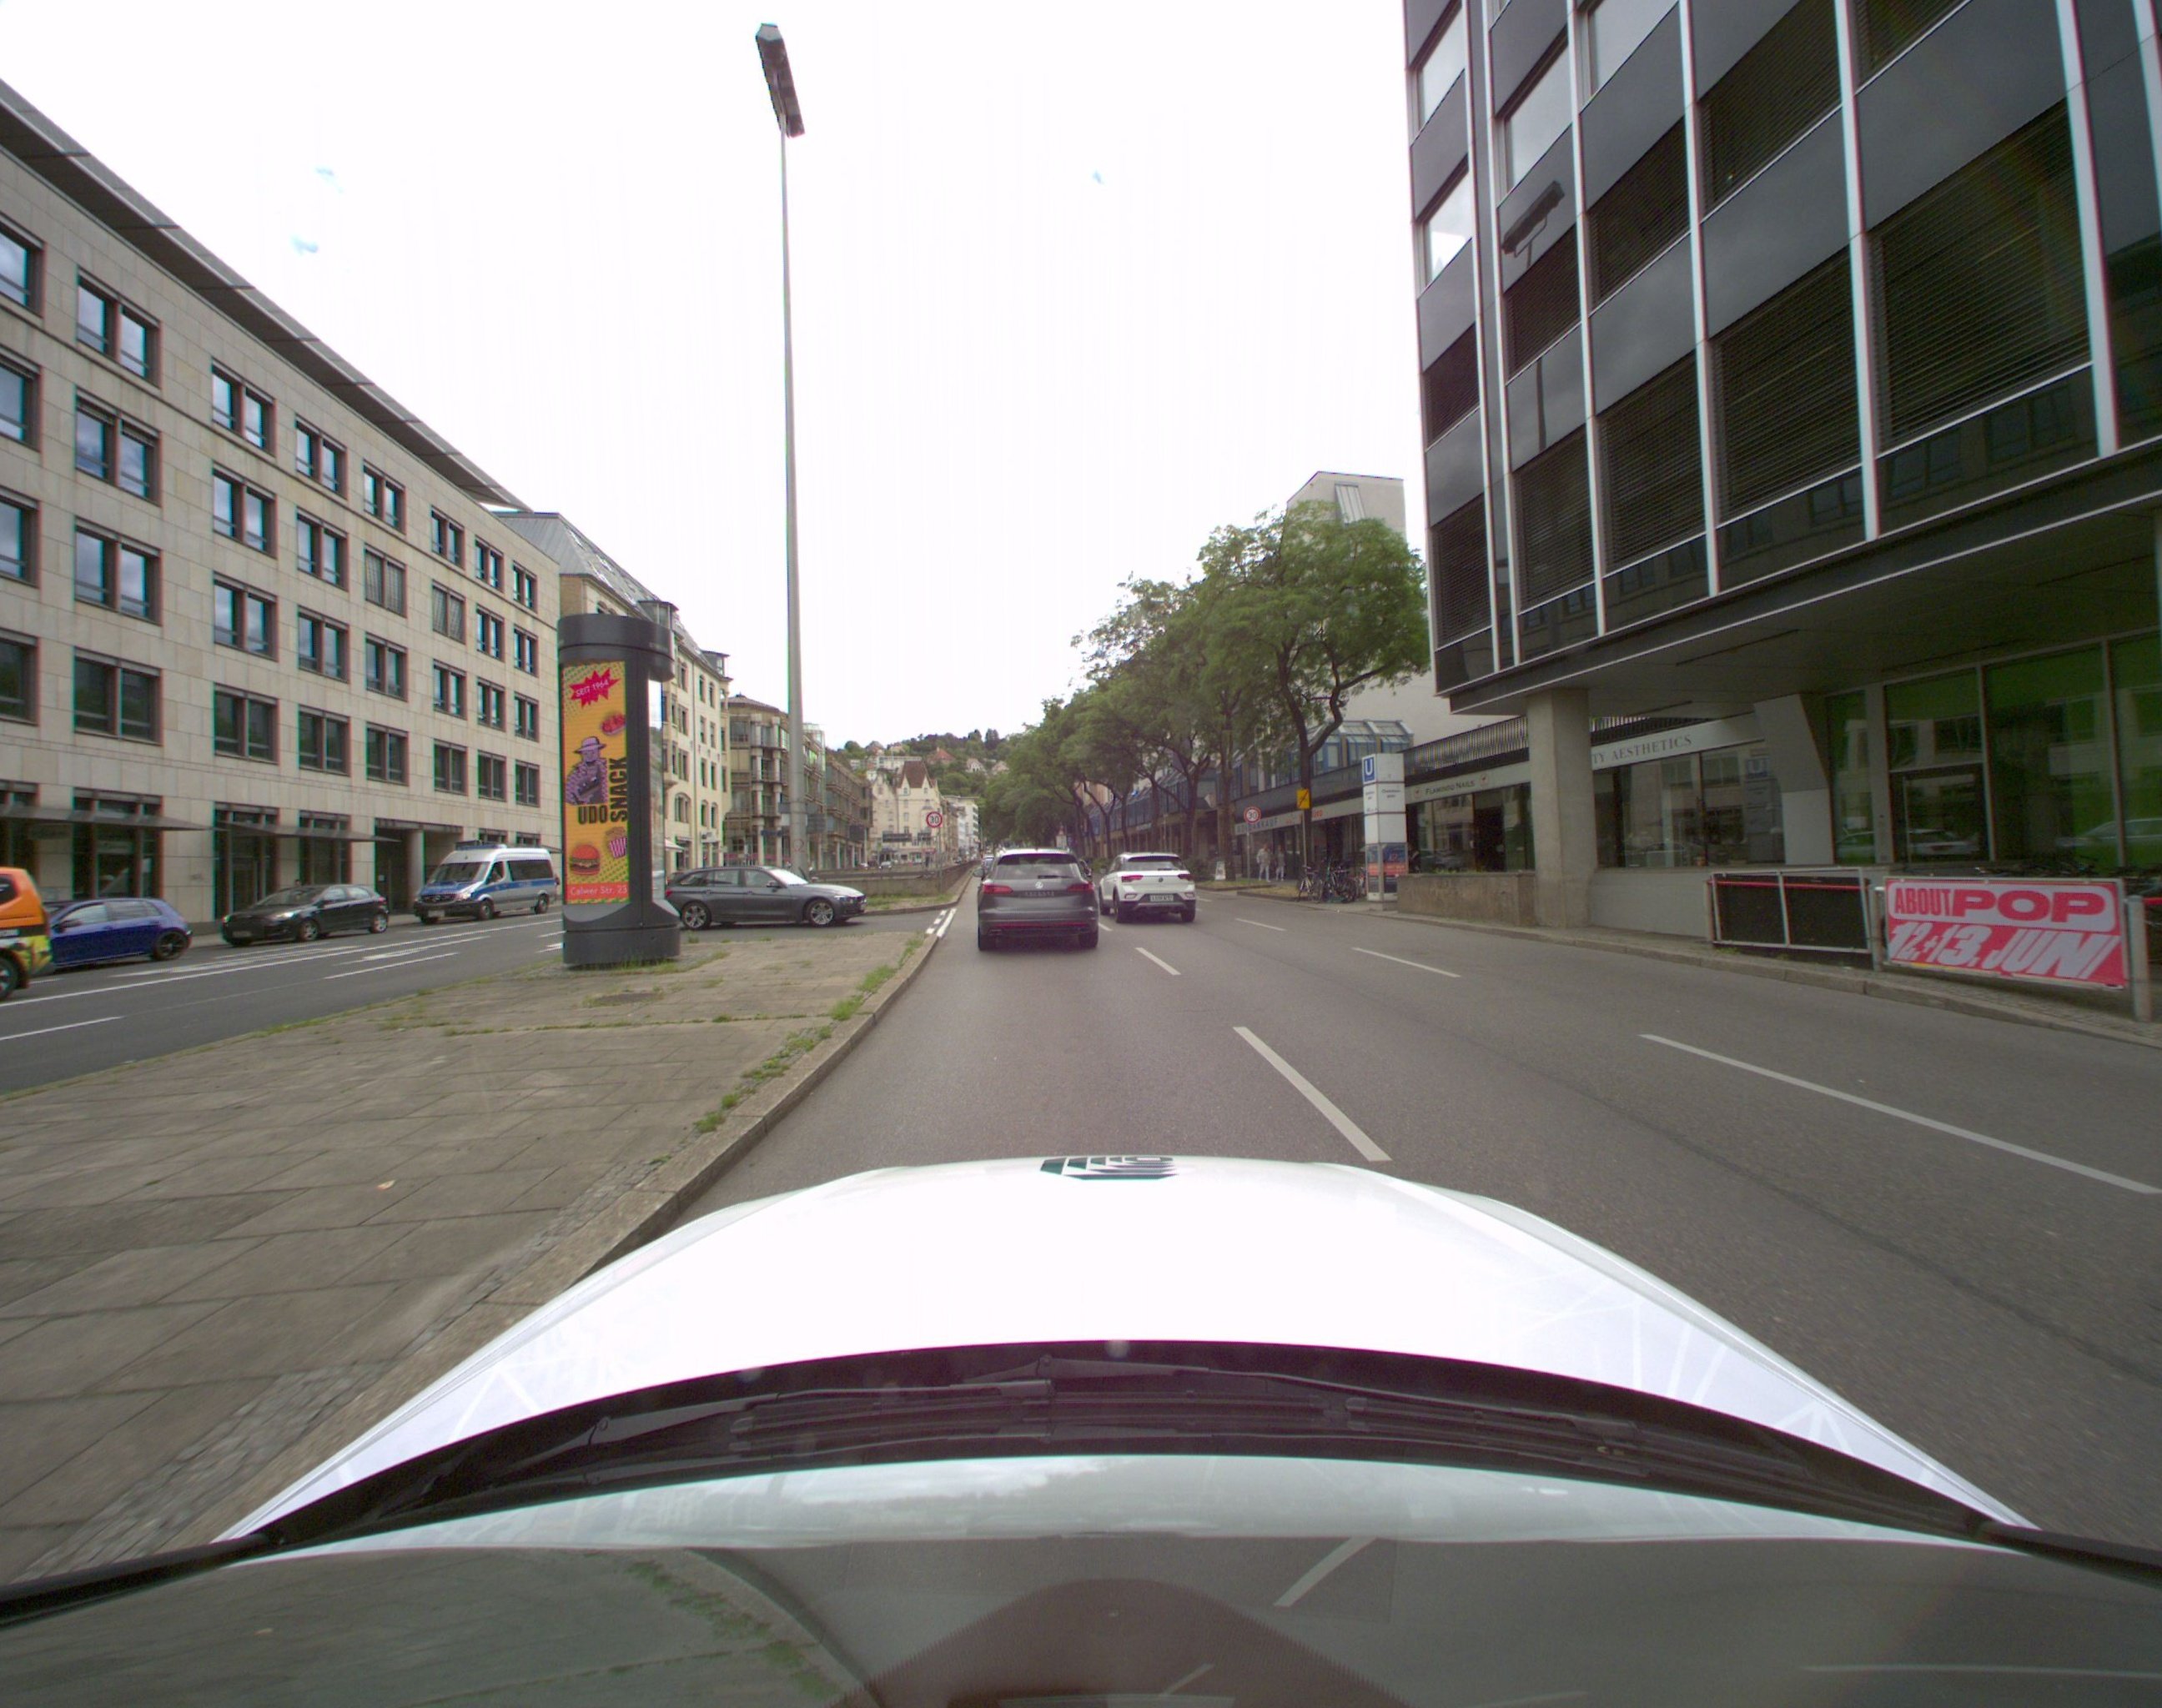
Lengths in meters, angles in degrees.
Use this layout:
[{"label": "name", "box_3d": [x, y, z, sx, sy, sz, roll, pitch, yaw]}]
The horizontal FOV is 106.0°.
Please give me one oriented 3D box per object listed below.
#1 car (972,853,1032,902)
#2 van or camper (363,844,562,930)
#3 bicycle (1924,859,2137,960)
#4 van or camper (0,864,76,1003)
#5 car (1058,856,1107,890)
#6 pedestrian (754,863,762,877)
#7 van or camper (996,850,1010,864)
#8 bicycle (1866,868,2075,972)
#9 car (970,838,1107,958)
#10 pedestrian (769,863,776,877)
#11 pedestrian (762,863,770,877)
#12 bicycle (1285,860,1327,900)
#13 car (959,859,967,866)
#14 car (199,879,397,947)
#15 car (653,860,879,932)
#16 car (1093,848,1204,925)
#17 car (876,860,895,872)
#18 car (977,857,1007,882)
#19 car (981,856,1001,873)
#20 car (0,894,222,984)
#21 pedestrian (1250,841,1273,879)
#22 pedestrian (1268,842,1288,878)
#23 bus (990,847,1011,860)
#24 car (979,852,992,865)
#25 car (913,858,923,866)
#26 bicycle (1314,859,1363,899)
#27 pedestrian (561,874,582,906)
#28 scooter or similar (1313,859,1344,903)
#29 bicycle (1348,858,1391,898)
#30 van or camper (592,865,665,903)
[{"label": "car", "box_3d": [-2.625, 0.740, 27.498, 1.830, 1.395, 4.141, -1, 1, -5]}, {"label": "van or camper", "box_3d": [-22.423, 1.079, 30.049, 2.999, 2.726, 6.230, -2, 0, -7]}, {"label": "bicycle", "box_3d": [10.924, 0.599, 9.423, 0.716, 1.048, 1.473, -2, 0, -28]}, {"label": "van or camper", "box_3d": [-15.799, 1.152, 9.598, 1.911, 1.921, 5.070, -3, 0, -7]}, {"label": "car", "box_3d": [0.012, 0.894, 39.722, 1.832, 1.432, 4.136, -1, 1, -8]}, {"label": "pedestrian", "box_3d": [-36.519, 1.857, 92.127, 0.701, 1.544, 0.843, -2, 0, -15]}, {"label": "van or camper", "box_3d": [-18.080, 0.725, 187.626, 2.628, 3.178, 5.782, -2, 0, -10]}, {"label": "bicycle", "box_3d": [10.106, 0.705, 9.309, 0.716, 1.048, 1.473, -2, 0, -28]}, {"label": "car", "box_3d": [-0.791, 0.653, 14.354, 1.967, 1.695, 4.218, -3, 0, -4]}, {"label": "pedestrian", "box_3d": [-35.104, 1.789, 92.691, 0.701, 1.544, 0.843, -2, 0, -15]}, {"label": "pedestrian", "box_3d": [-35.829, 1.820, 92.530, 0.701, 1.544, 0.843, -2, 0, -15]}, {"label": "bicycle", "box_3d": [6.694, 0.762, 24.281, 0.489, 1.132, 1.838, -2, 0, -8]}, {"label": "car", "box_3d": [-31.947, 2.380, 219.768, 1.992, 1.768, 4.269, -2, 0, -7]}, {"label": "car", "box_3d": [-21.240, 1.535, 22.358, 1.767, 1.448, 4.020, -4, 0, -7]}, {"label": "car", "box_3d": [-7.337, 0.951, 19.296, 4.535, 1.458, 1.881, -2, 0, 0]}, {"label": "car", "box_3d": [1.474, 0.730, 19.331, 1.796, 1.545, 3.925, -3, -1, -7]}, {"label": "car", "box_3d": [-29.955, 1.826, 125.023, 1.990, 1.585, 4.879, -2, 0, -5]}, {"label": "car", "box_3d": [-5.879, 0.978, 53.481, 1.831, 1.517, 3.757, -3, 0, -8]}, {"label": "car", "box_3d": [-9.160, 1.072, 82.627, 1.830, 1.567, 3.757, -3, 0, -7]}, {"label": "car", "box_3d": [-20.253, 1.634, 16.078, 1.991, 1.395, 4.563, -2, 0, -6]}, {"label": "pedestrian", "box_3d": [8.344, 0.274, 37.681, 0.596, 1.754, 0.937, -3, 0, -13]}, {"label": "pedestrian", "box_3d": [9.166, 0.292, 37.887, 0.596, 1.629, 0.754, -3, 0, -13]}, {"label": "bus", "box_3d": [-22.768, -0.139, 230.907, 3.837, 3.532, 17.246, -2, 0, 1]}, {"label": "car", "box_3d": [-15.187, 0.730, 129.211, 1.830, 1.874, 4.860, -3, 0, -6]}, {"label": "car", "box_3d": [-38.478, 1.917, 192.103, 1.992, 1.767, 4.270, -2, 0, -7]}, {"label": "bicycle", "box_3d": [7.668, 0.734, 24.330, 0.490, 1.132, 1.879, -2, 0, -13]}, {"label": "pedestrian", "box_3d": [-25.457, 1.801, 40.700, 0.551, 1.577, 0.679, -2, 0, -3]}, {"label": "scooter or similar", "box_3d": [7.265, 0.786, 23.934, 0.306, 1.251, 0.990, -2, 0, -20]}, {"label": "bicycle", "box_3d": [8.570, 0.699, 24.279, 0.489, 1.132, 1.685, -2, 0, -6]}, {"label": "van or camper", "box_3d": [-23.647, 1.513, 42.751, 1.867, 1.751, 4.474, -2, 0, -8]}]
